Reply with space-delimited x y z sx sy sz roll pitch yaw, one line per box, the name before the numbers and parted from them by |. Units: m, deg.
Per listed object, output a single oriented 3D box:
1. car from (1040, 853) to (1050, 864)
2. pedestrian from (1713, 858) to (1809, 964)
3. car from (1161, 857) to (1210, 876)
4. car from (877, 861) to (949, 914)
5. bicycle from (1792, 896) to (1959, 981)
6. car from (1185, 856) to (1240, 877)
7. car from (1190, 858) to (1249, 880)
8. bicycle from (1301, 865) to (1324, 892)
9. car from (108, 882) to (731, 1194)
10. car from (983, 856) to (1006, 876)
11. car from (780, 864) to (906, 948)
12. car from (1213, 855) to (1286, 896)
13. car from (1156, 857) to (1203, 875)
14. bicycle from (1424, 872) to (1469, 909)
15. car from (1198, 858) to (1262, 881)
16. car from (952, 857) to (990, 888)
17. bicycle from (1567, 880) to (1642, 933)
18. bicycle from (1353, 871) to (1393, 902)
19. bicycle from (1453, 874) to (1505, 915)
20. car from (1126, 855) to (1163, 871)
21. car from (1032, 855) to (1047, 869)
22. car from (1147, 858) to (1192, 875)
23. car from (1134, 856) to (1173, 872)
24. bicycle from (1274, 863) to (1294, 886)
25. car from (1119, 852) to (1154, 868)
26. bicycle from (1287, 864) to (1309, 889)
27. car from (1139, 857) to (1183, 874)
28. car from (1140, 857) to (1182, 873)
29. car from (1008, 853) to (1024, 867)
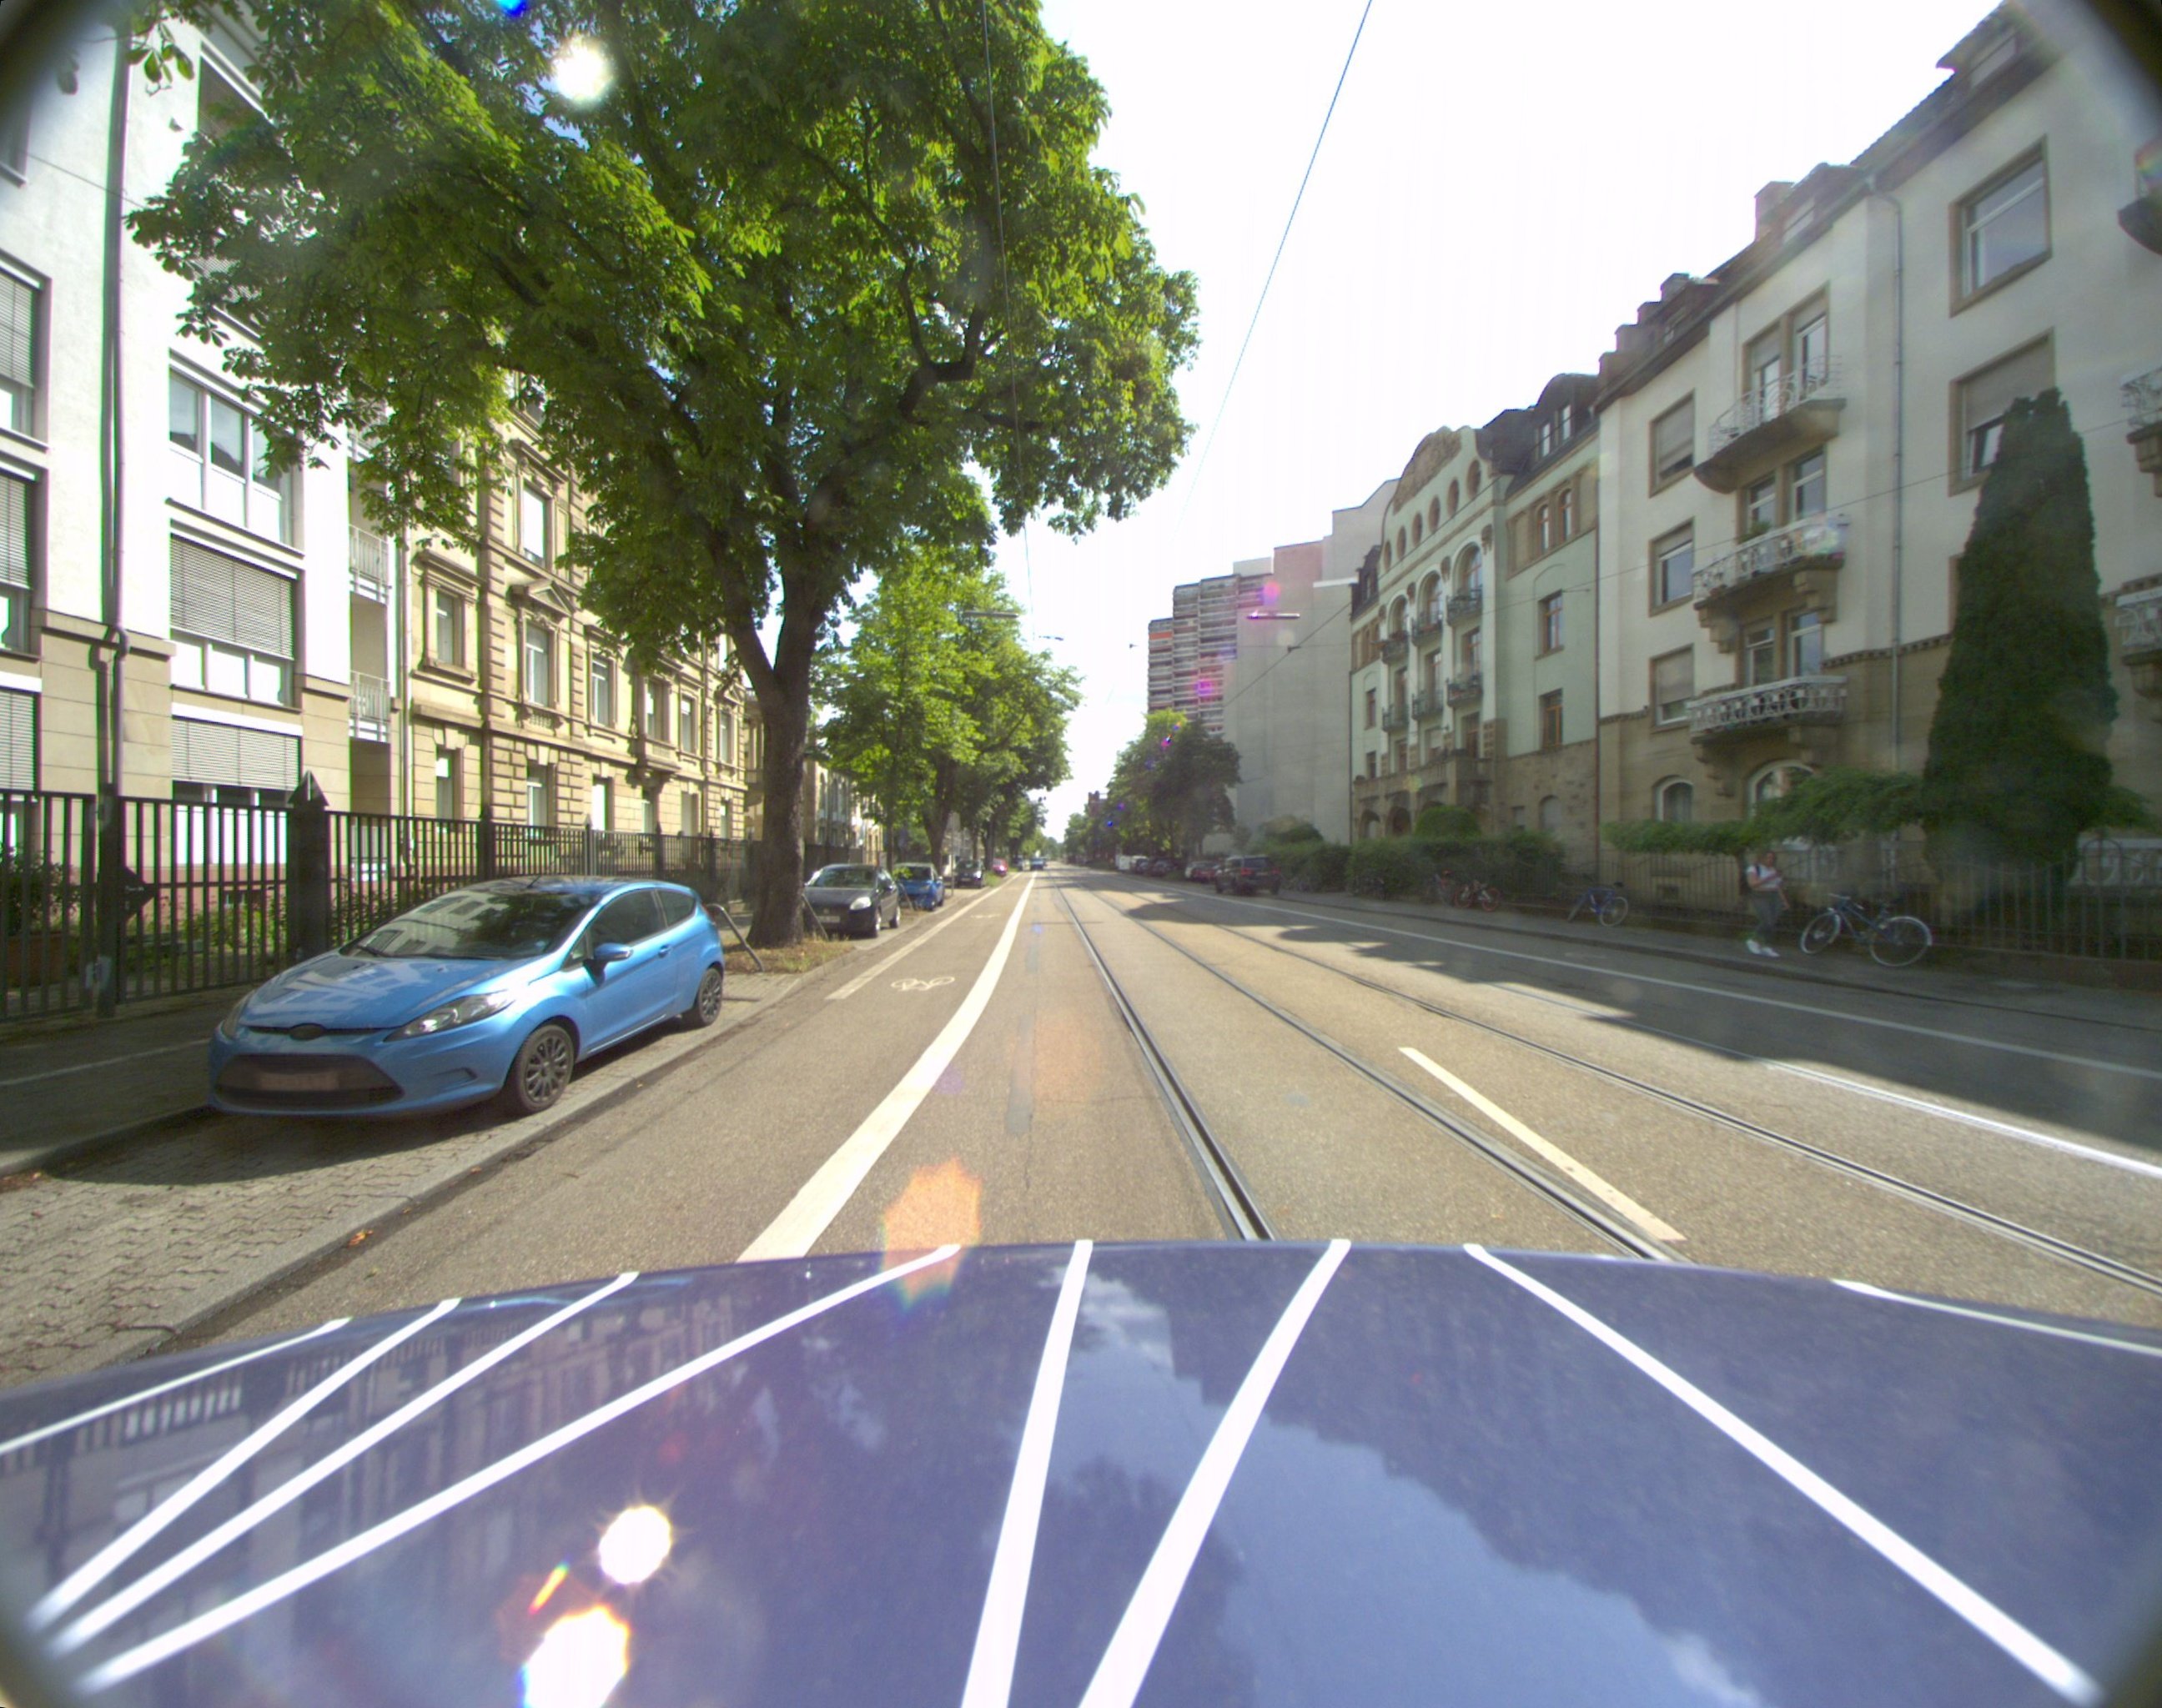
car | -8.139 1.066 173.142 2.146 2.568 4.817 0 0 -2
pedestrian | 10.208 0.832 11.438 0.759 1.532 0.765 0 0 -2
car | 8.588 1.041 62.490 3.994 1.499 2.001 0 0 8
car | -5.294 1.028 24.349 1.679 1.467 3.659 3 0 -4
bicycle | 11.109 1.138 10.730 0.467 0.990 1.979 0 0 7
car | 9.722 0.933 56.440 3.994 1.499 2.001 0 0 8
car | 9.581 1.012 52.892 3.994 1.499 2.001 0 0 8
bicycle | 10.201 1.060 33.557 0.468 1.128 1.787 0 0 -1
car | -4.315 1.050 5.834 1.647 1.467 3.660 3 0 -3
car | -7.433 1.030 65.887 1.744 1.564 3.928 3 0 -4
car | -4.897 1.000 16.134 1.679 1.467 3.659 3 0 -4
car | 7.298 0.894 33.422 1.922 1.685 4.400 0 0 -5
car | 8.495 1.058 65.646 3.994 1.499 2.001 0 0 8
bicycle | 10.726 1.060 22.359 0.468 0.990 1.787 0 0 -1
car | 9.611 0.999 49.384 3.994 1.499 2.001 0 0 8
car | -6.170 1.021 42.928 1.744 1.564 3.659 3 0 -4
bicycle | 10.969 1.071 15.975 0.467 0.990 1.787 0 0 5
bicycle | 10.144 1.098 26.447 0.605 0.990 1.981 0 0 -1
bicycle | 10.685 1.064 20.460 0.468 0.990 1.787 0 0 -1
car | 6.946 0.988 83.037 3.994 1.672 2.001 0 0 8
car | -5.850 1.103 106.890 1.974 1.900 4.817 0 0 -2
car | 8.001 1.099 68.766 3.994 1.499 2.001 0 0 8
car | 7.521 1.001 78.610 3.994 1.672 2.001 0 0 8
bicycle | 10.025 0.999 37.597 0.468 1.128 1.787 0 0 -1
car | 6.534 0.655 88.872 1.994 1.740 4.008 -1 1 41
bicycle | 10.122 1.041 35.499 0.468 1.128 1.787 0 0 -1
car | 7.601 1.077 71.976 3.994 1.499 2.001 0 0 8
car | 7.933 1.078 75.136 3.994 1.499 2.001 0 0 8
car | -7.711 0.660 90.562 1.744 1.564 3.928 3 0 -4
